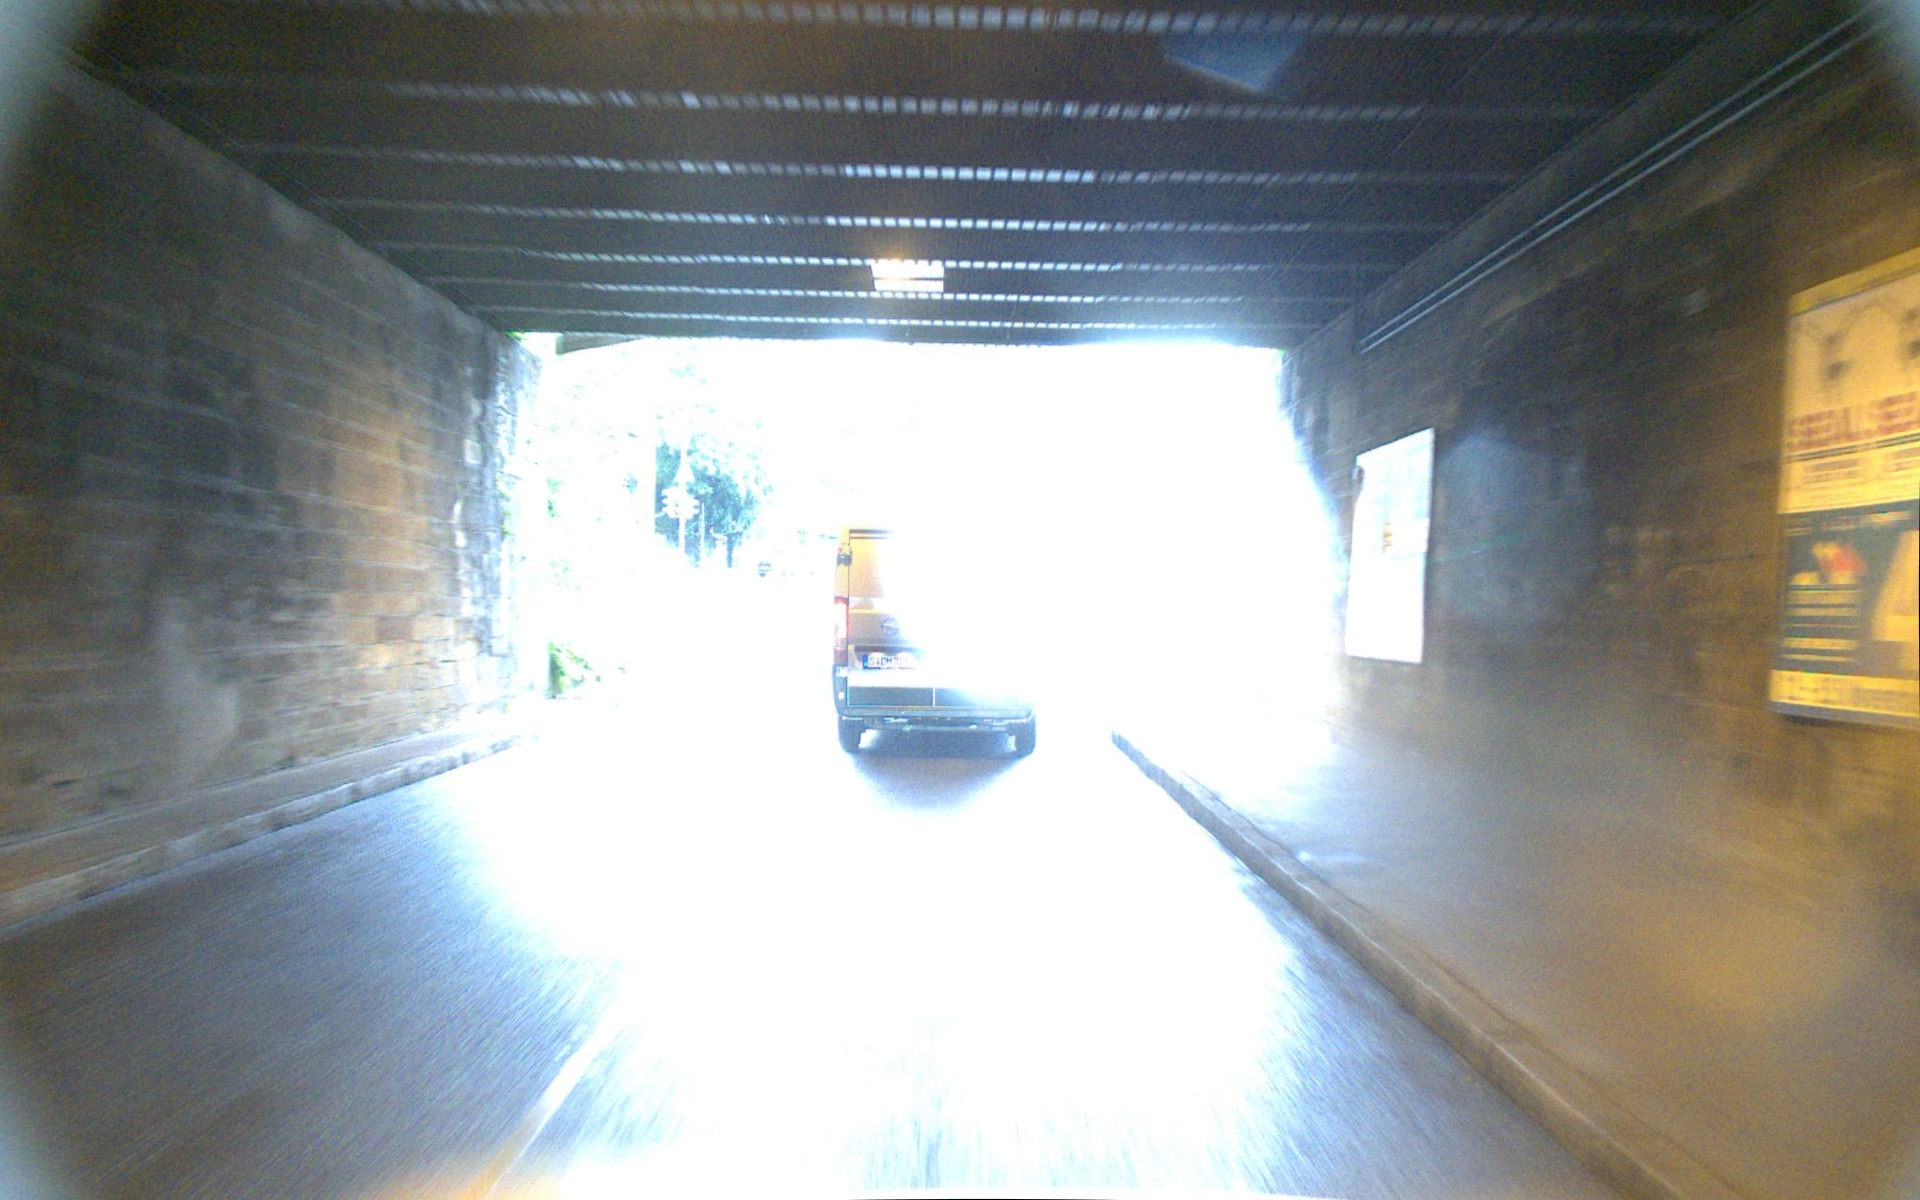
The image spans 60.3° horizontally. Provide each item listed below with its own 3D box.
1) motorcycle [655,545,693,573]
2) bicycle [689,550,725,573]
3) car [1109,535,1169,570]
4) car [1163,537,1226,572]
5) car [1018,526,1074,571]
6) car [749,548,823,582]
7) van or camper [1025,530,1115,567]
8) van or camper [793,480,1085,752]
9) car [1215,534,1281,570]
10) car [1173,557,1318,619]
[{"bbox_3d":[-15.369,-2.209,88.977,1.948,1.447,0.658,1,0,-5],"label":"motorcycle"},{"bbox_3d":[-13.591,-2.068,88.934,0.908,1.148,2.291,1,0,20],"label":"bicycle"},{"bbox_3d":[8.443,-2.231,78.297,1.956,1.512,3.994,1,0,-7],"label":"car"},{"bbox_3d":[10.978,-2.114,77.593,1.956,1.566,3.994,1,0,-7],"label":"car"},{"bbox_3d":[3.999,-2.392,77.624,1.956,1.982,3.994,1,0,-7],"label":"car"},{"bbox_3d":[-9.343,-1.886,89.143,1.957,1.718,3.991,1,0,31],"label":"car"},{"bbox_3d":[6.455,-3.013,96.763,5.196,2.049,2.079,1,0,5],"label":"van or camper"},{"bbox_3d":[-0.163,0.152,17.653,2.643,2.459,4.903,1,0,1],"label":"van or camper"},{"bbox_3d":[13.471,-2.234,77.492,1.956,1.566,3.994,1,0,-7],"label":"car"},{"bbox_3d":[7.091,-0.271,40.846,1.807,1.463,4.083,0,0,39],"label":"car"}]
